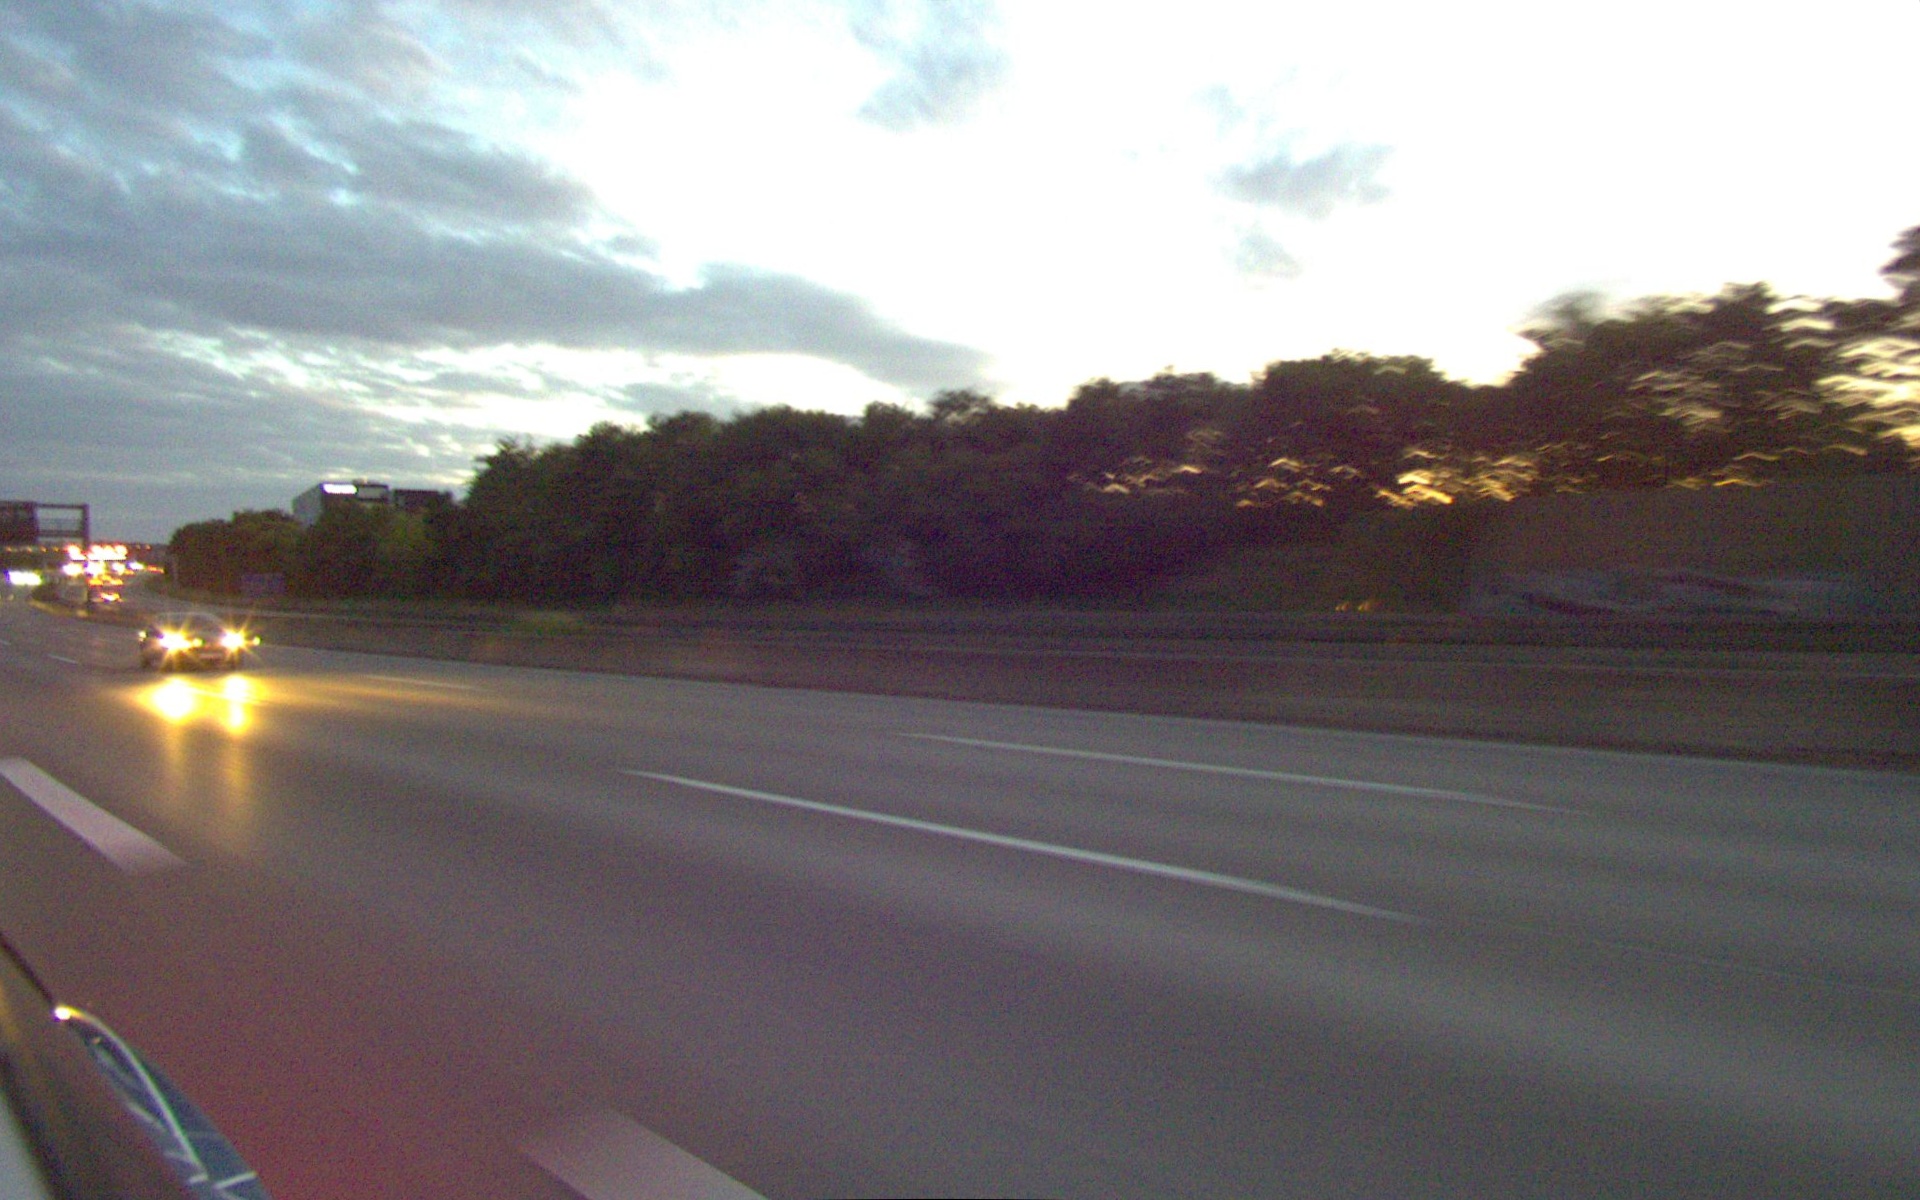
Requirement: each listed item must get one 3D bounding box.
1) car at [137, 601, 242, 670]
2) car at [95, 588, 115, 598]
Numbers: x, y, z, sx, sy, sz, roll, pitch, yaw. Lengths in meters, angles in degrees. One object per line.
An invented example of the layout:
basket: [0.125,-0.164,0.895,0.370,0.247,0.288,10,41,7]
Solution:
car: [-20.303,0.860,26.602,1.693,1.490,4.003,0,3,-45]
car: [-133.360,-1.084,157.797,4.153,1.430,1.971,1,1,44]
